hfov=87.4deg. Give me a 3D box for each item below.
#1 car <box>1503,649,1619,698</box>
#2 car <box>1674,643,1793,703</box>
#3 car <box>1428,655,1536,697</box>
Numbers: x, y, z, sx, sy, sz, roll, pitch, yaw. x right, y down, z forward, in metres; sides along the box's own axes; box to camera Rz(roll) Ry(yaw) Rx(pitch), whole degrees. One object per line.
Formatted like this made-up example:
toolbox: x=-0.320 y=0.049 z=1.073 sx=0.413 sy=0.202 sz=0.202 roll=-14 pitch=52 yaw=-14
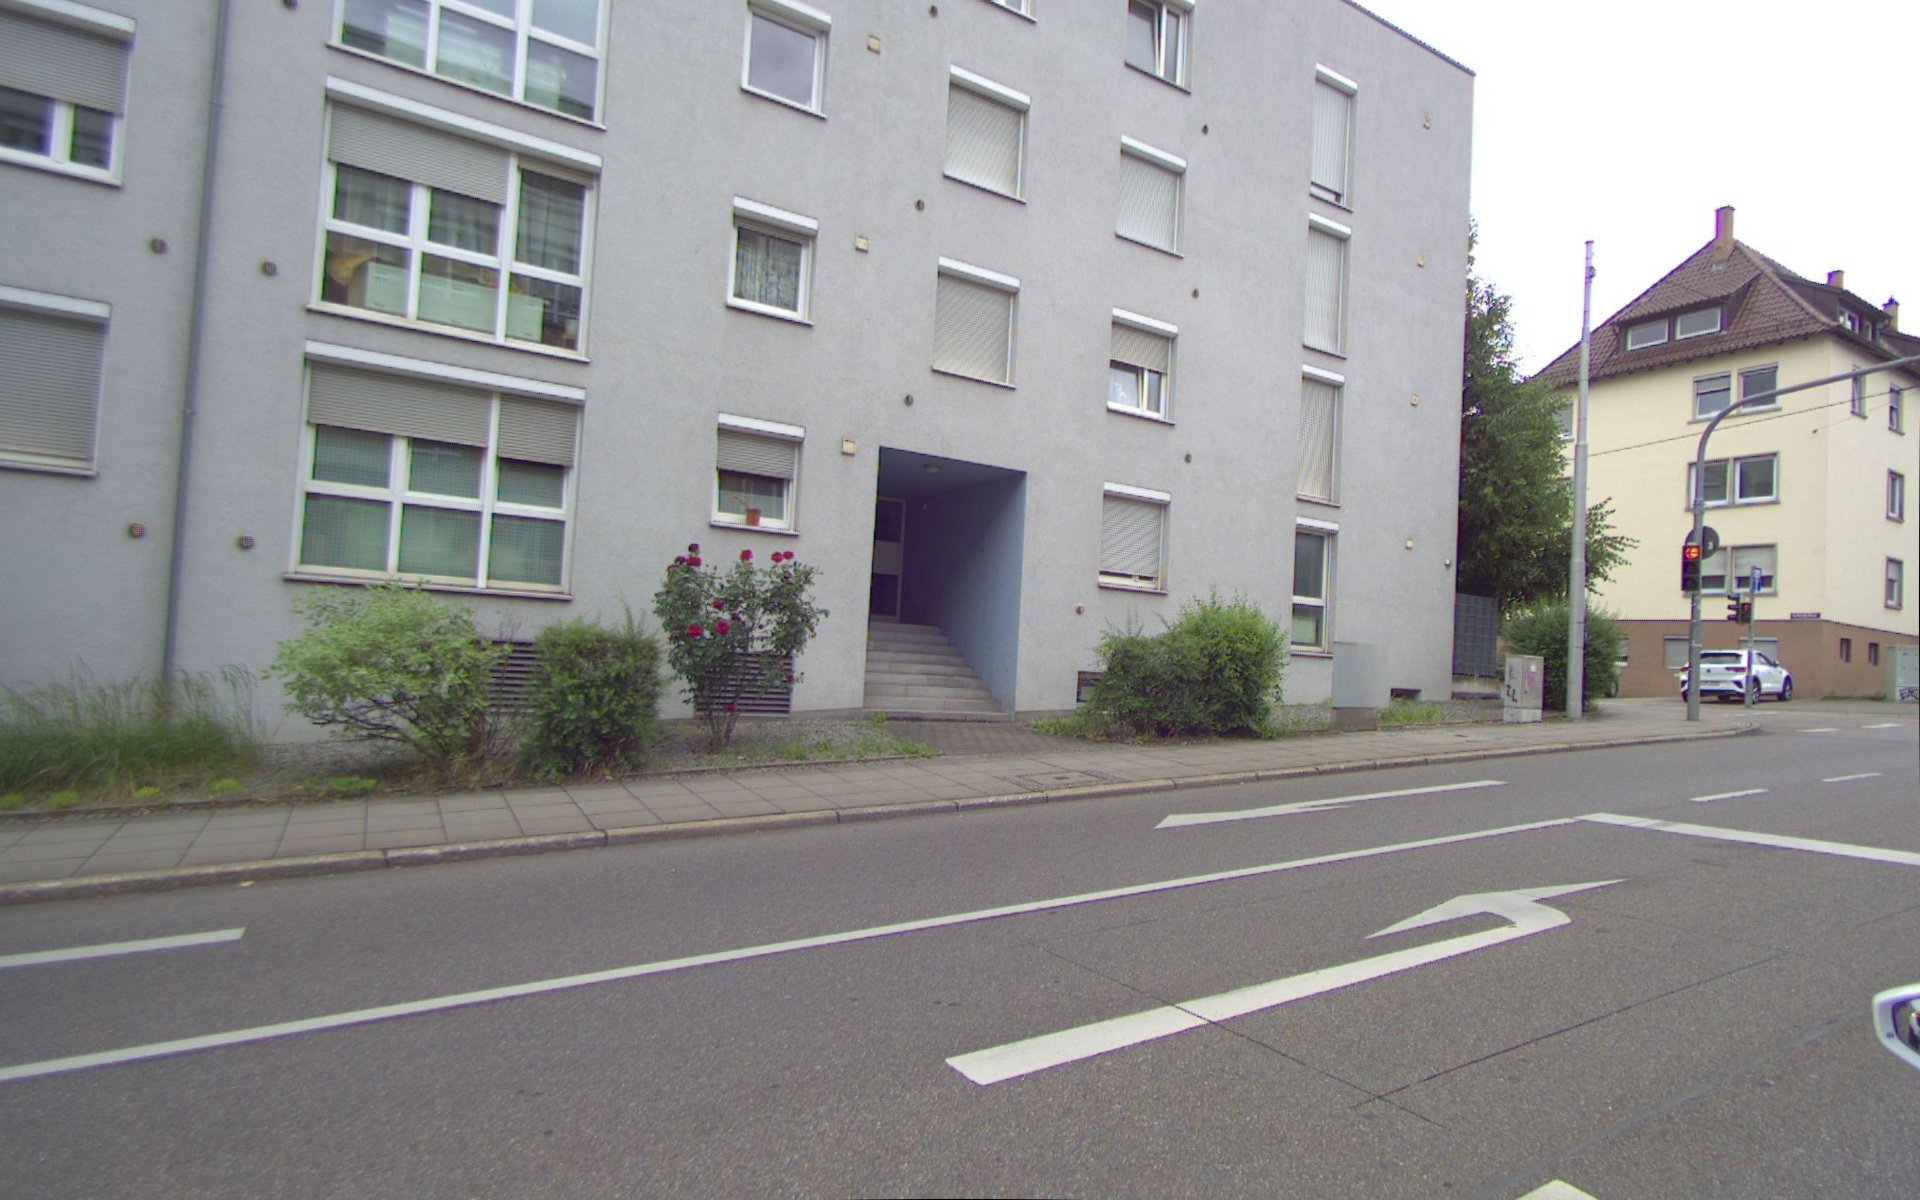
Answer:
car: x=20.649 y=2.505 z=34.477 sx=4.053 sy=1.566 sz=1.662 roll=2 pitch=-4 yaw=-30
car: x=23.216 y=2.168 z=30.116 sx=3.960 sy=1.683 sz=1.660 roll=2 pitch=-4 yaw=-35
car: x=19.062 y=2.732 z=36.670 sx=3.953 sy=1.380 sz=1.662 roll=2 pitch=-1 yaw=-30
